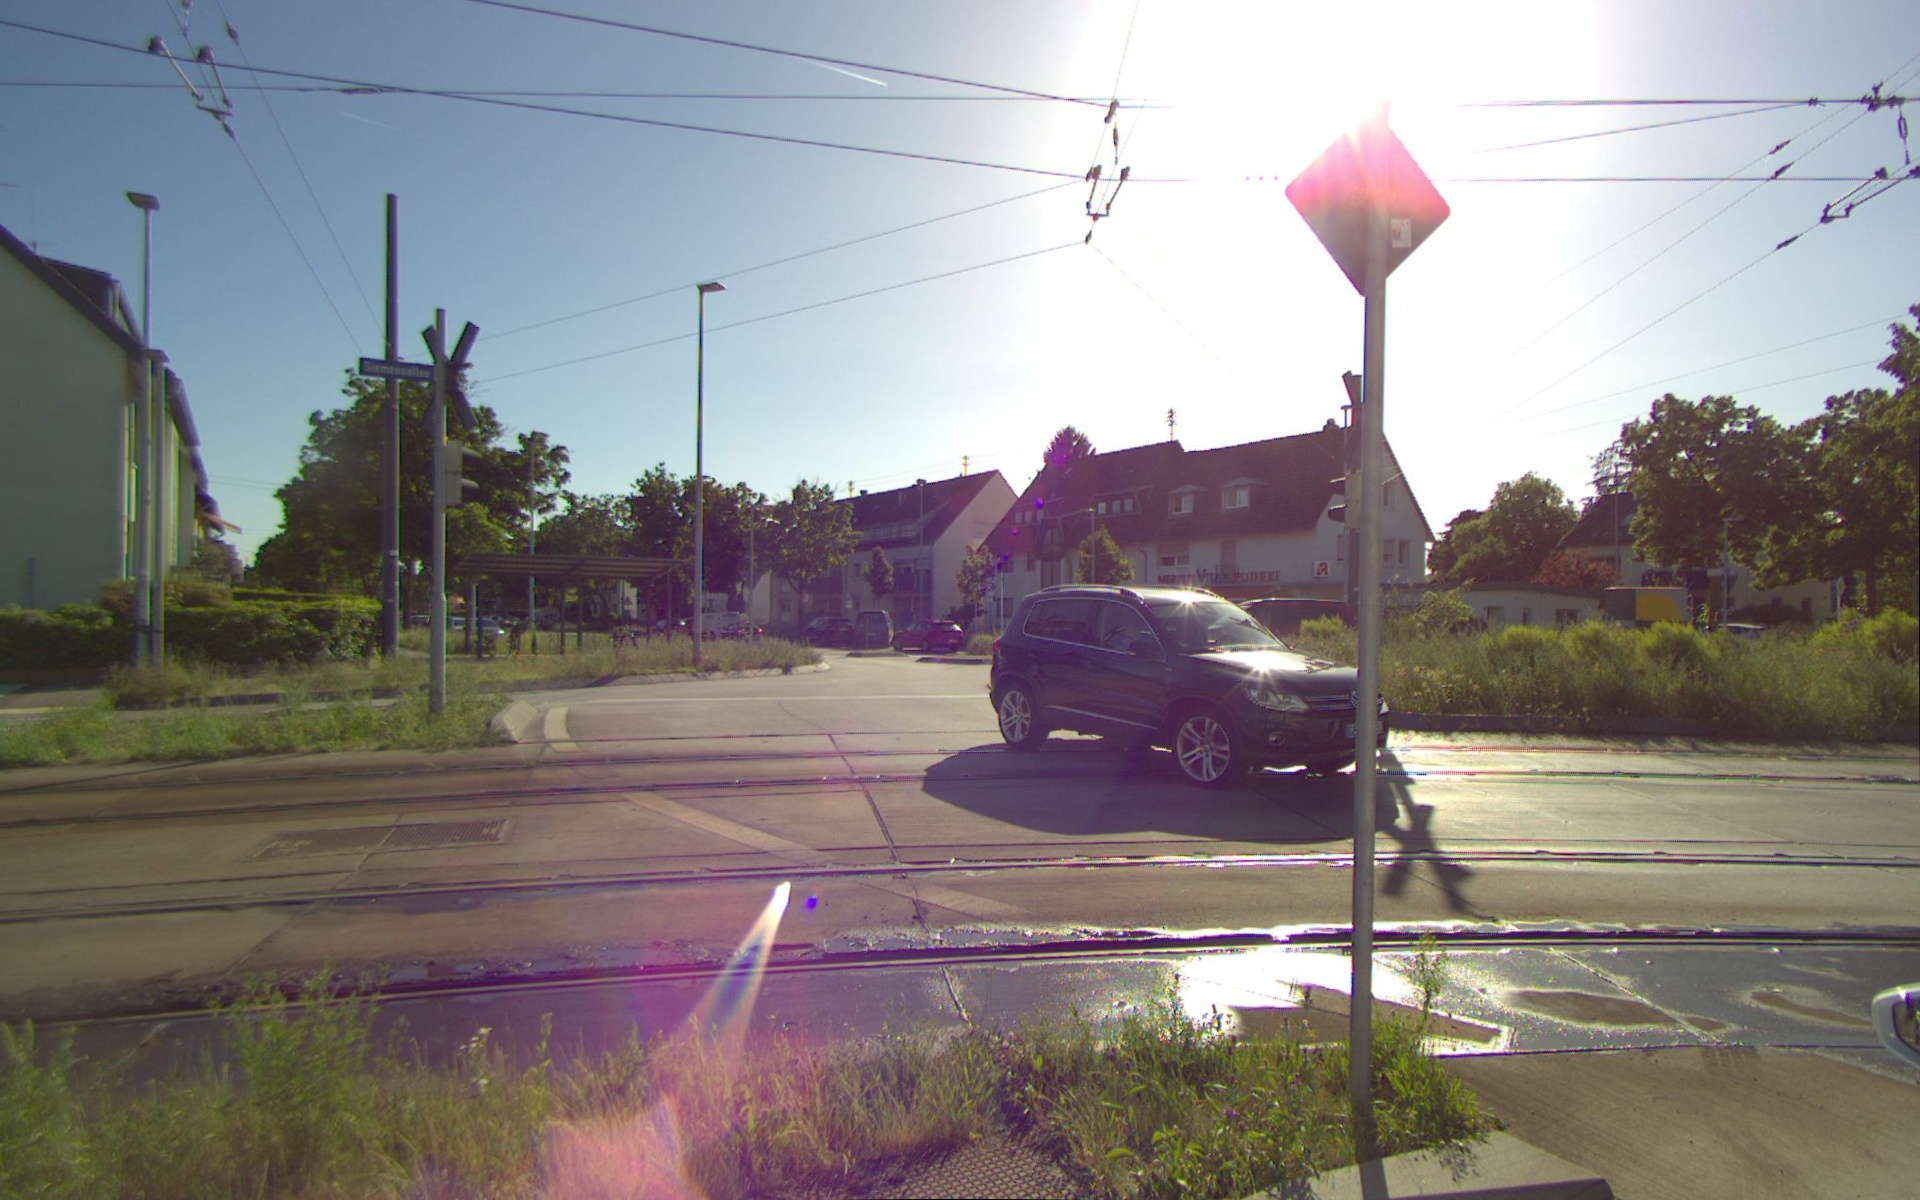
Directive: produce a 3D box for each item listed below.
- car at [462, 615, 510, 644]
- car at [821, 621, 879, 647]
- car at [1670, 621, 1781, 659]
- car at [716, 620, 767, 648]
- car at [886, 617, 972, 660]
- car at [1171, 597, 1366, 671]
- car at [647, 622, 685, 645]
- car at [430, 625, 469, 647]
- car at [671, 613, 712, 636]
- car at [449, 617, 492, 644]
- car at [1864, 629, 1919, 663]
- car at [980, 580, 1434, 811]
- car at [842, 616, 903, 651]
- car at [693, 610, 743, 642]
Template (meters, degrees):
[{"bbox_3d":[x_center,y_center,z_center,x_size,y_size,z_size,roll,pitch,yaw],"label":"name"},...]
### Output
[{"bbox_3d":[-26.280,1.602,55.669,1.808,1.411,3.753,1,1,-35],"label":"car"},{"bbox_3d":[-6.060,1.874,55.261,3.107,1.315,1.380,2,1,-11],"label":"car"},{"bbox_3d":[38.884,2.009,51.134,1.974,1.717,4.023,1,0,-26],"label":"car"},{"bbox_3d":[-14.094,2.163,64.613,1.903,1.637,4.247,1,1,-31],"label":"car"},{"bbox_3d":[-1.502,1.760,46.975,1.981,1.721,4.326,1,1,-36],"label":"car"},{"bbox_3d":[9.052,0.979,29.632,5.144,2.008,1.997,-1,-1,-10],"label":"car"},{"bbox_3d":[-22.915,2.617,78.240,1.537,1.699,4.177,1,-1,-36],"label":"car"},{"bbox_3d":[-33.663,2.362,66.196,1.808,1.411,3.831,1,-2,-35],"label":"car"},{"bbox_3d":[-19.758,1.798,73.781,1.531,1.613,4.035,1,-1,-36],"label":"car"},{"bbox_3d":[-29.829,1.833,61.126,1.808,1.411,3.831,1,1,-35],"label":"car"},{"bbox_3d":[44.690,2.163,47.757,3.765,1.484,1.787,1,1,-36],"label":"car"},{"bbox_3d":[2.063,0.705,9.629,1.797,1.693,4.221,0,0,-31],"label":"car"},{"bbox_3d":[-4.451,1.691,51.243,3.020,1.641,1.409,2,1,-6],"label":"car"},{"bbox_3d":[-16.934,1.822,70.252,1.879,2.041,4.326,1,1,-36],"label":"car"}]
